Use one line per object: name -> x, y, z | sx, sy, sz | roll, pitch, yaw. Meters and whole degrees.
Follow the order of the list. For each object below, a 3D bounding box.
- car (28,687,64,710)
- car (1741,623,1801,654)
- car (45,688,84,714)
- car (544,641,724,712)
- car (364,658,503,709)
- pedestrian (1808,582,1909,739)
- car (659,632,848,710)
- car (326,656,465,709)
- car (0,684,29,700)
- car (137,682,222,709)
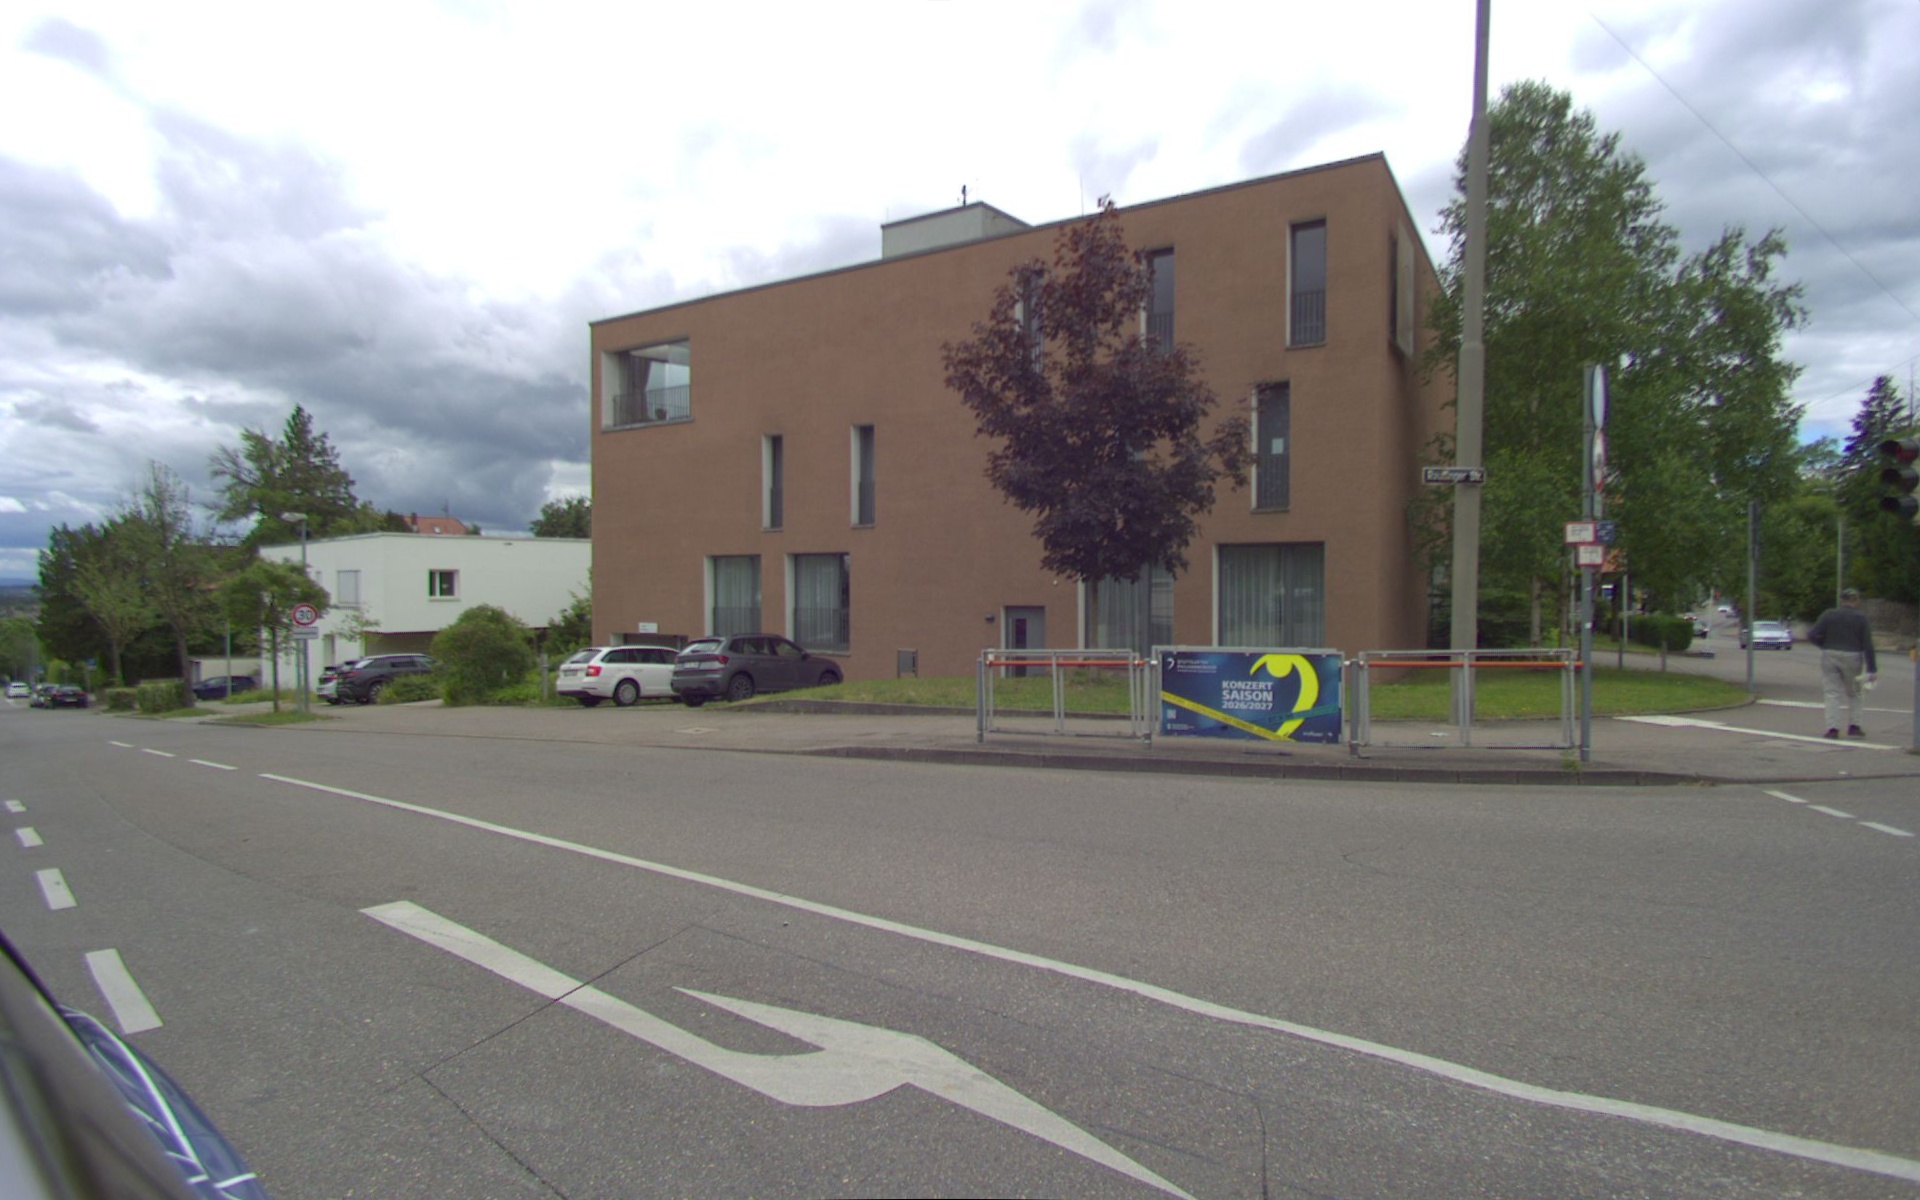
car -> -61.557, 6.619, 68.145 | 1.638, 1.432, 4.371 | 0, -4, -44
car -> 41.125, 1.926, 51.385 | 1.703, 1.424, 4.380 | -2, -1, 30
car -> -54.934, 6.161, 62.067 | 1.638, 1.432, 4.003 | 0, -4, -44
car -> -7.998, 1.859, 25.117 | 1.724, 1.497, 3.950 | -5, -4, 37
car -> -18.233, 2.871, 35.145 | 1.727, 1.497, 3.943 | -6, -4, 43
pedestrian -> 9.822, 0.648, 11.063 | 0.728, 1.646, 0.684 | 1, -3, -41
car -> -4.503, 1.542, 22.518 | 1.724, 1.497, 3.950 | -5, -4, 37
car -> -19.976, 2.892, 35.931 | 1.793, 1.608, 3.943 | -6, -4, 43
car -> -95.905, 9.286, 102.353 | 4.362, 1.432, 1.861 | -3, -3, 38
car -> -46.972, 5.729, 60.932 | 3.939, 1.296, 1.665 | 0, -4, -43
